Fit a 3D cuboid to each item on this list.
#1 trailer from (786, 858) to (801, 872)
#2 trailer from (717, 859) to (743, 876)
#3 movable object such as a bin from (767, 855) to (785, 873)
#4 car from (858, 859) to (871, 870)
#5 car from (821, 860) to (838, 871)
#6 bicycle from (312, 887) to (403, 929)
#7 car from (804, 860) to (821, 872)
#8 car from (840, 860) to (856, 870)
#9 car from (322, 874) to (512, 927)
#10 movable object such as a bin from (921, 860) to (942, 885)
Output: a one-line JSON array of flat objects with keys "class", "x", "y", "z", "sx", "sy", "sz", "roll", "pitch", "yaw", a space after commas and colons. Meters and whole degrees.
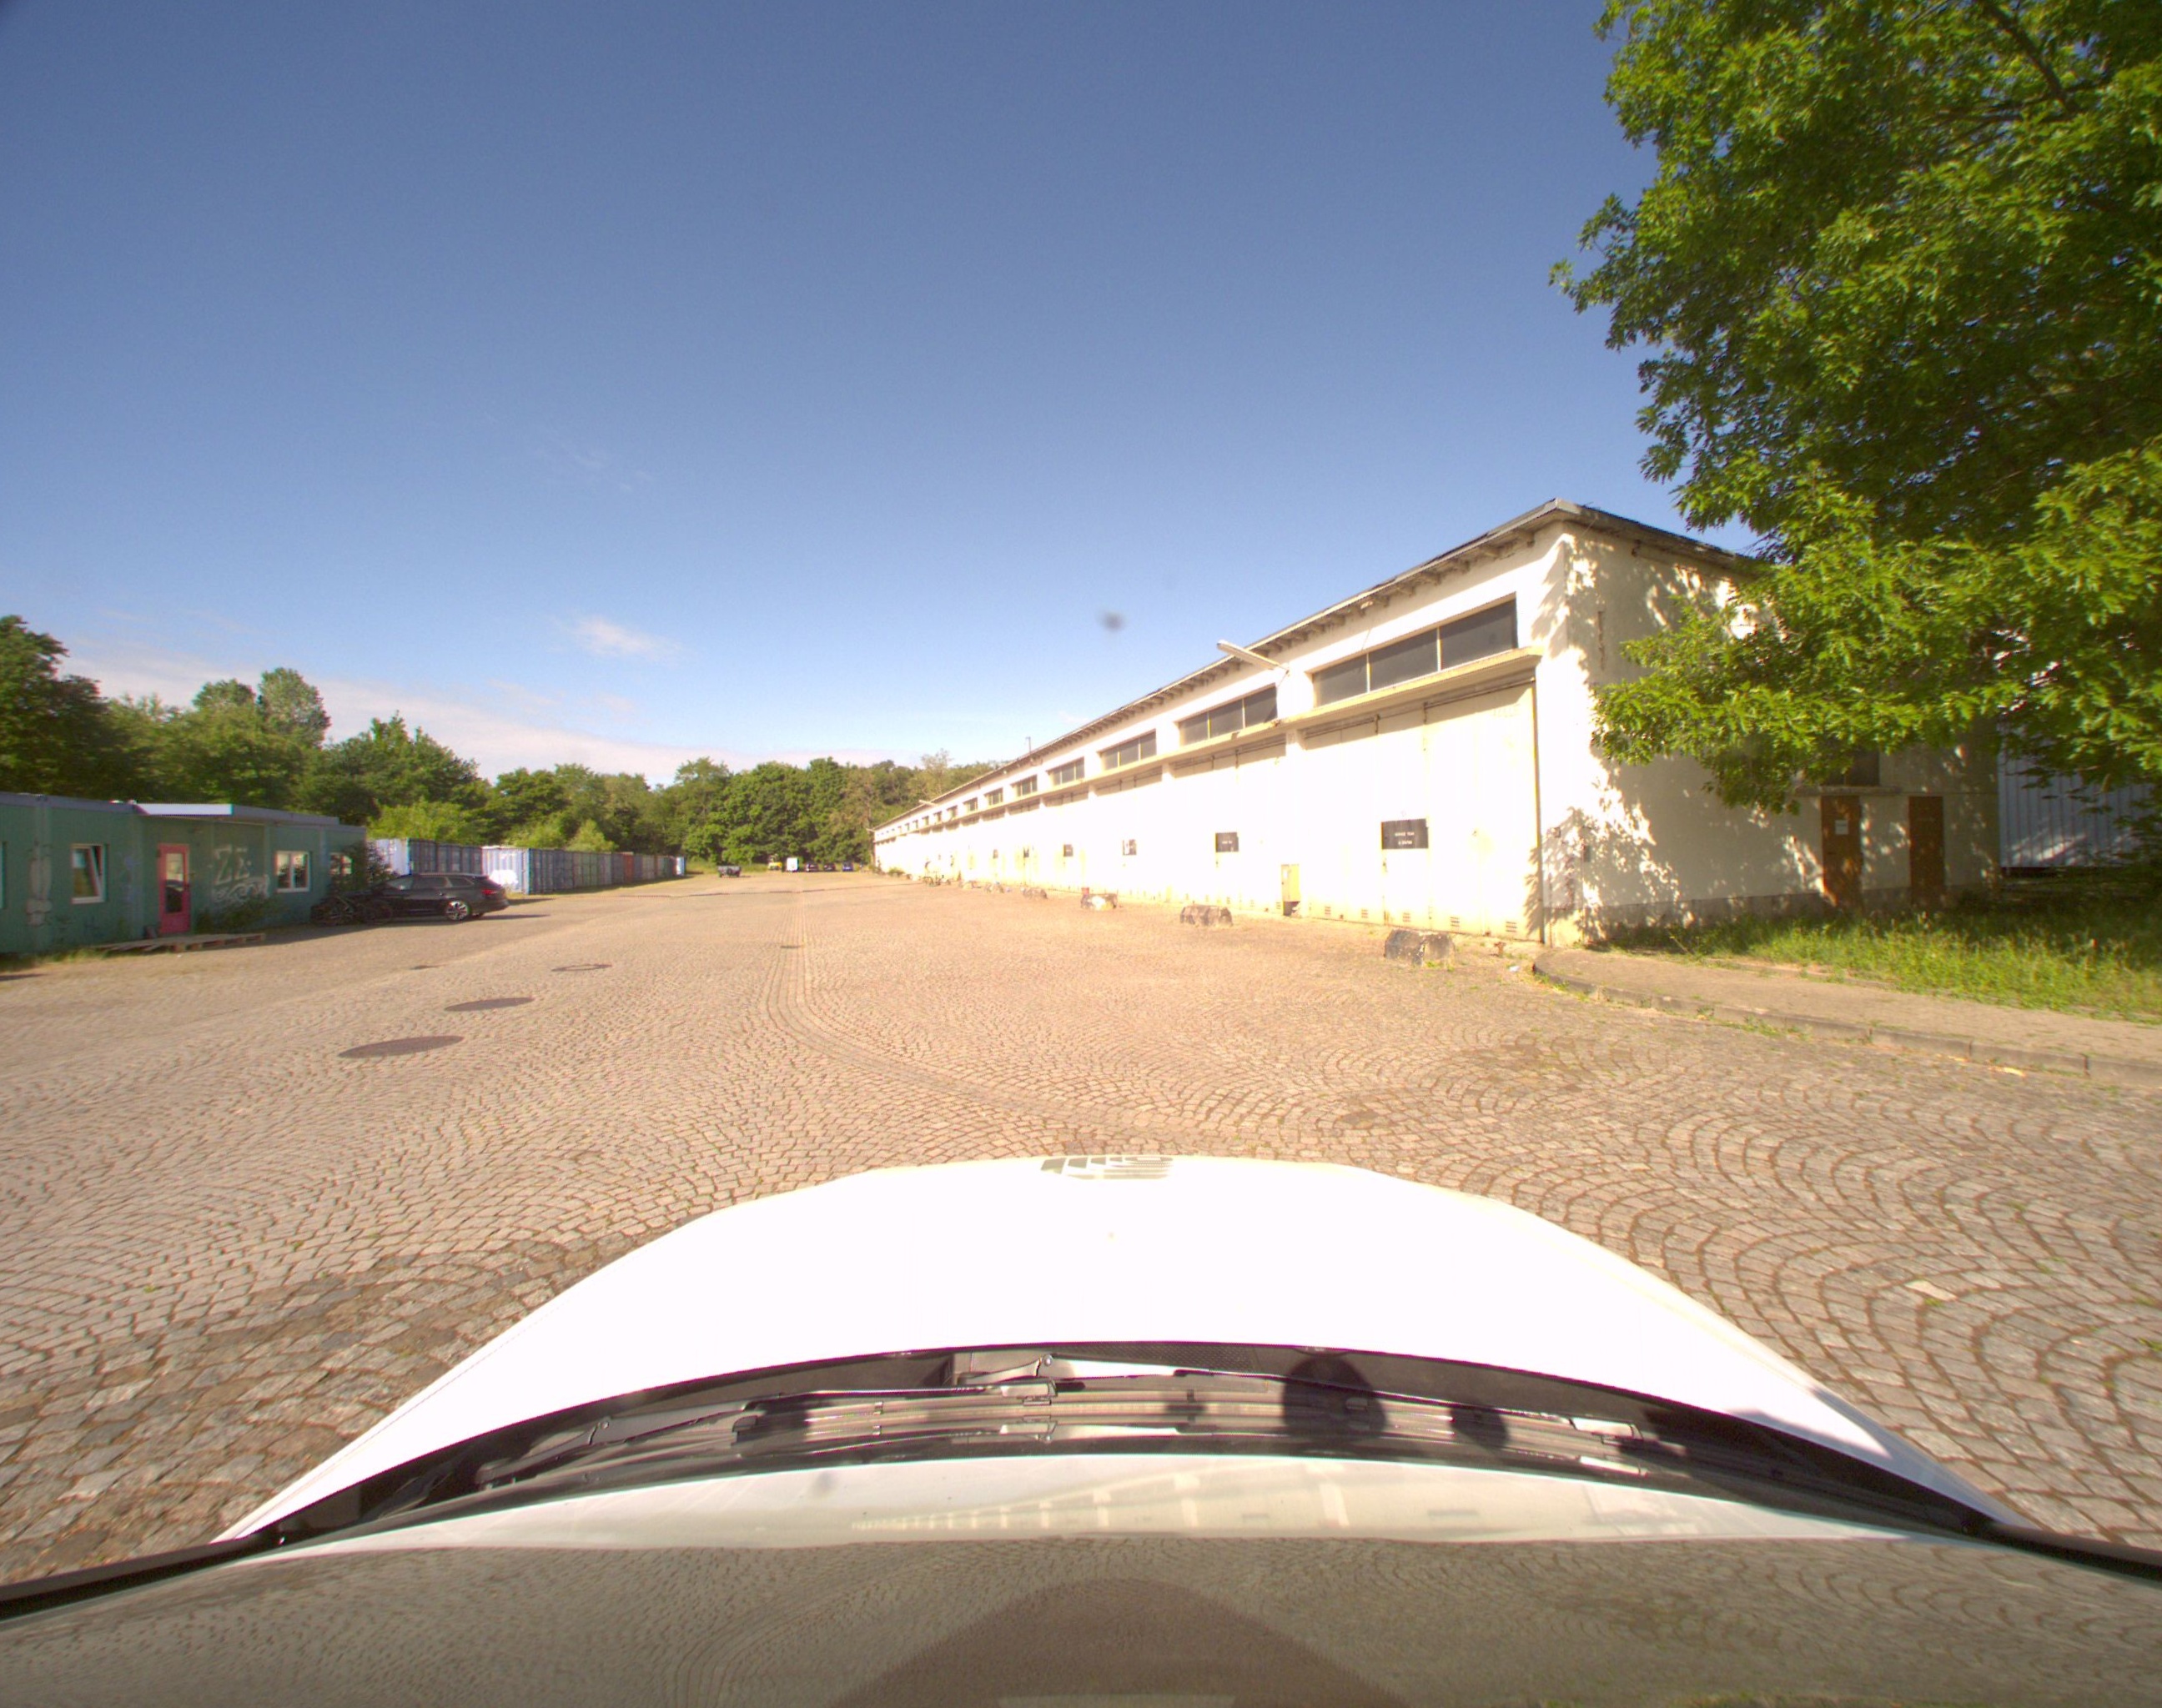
[{"class": "trailer", "x": -42.676, "y": 1.649, "z": 120.981, "sx": 1.797, "sy": 2.090, "sz": 3.951, "roll": -1, "pitch": 0, "yaw": -15}, {"class": "trailer", "x": -43.320, "y": 1.691, "z": 100.548, "sx": 2.413, "sy": 2.014, "sz": 4.149, "roll": 1, "pitch": -1, "yaw": -17}, {"class": "movable object such as a bin", "x": -45.119, "y": 1.445, "z": 120.397, "sx": 1.997, "sy": 2.618, "sz": 3.979, "roll": -2, "pitch": 0, "yaw": -15}, {"class": "car", "x": -33.050, "y": 1.560, "z": 124.278, "sx": 1.687, "sy": 1.563, "sz": 3.983, "roll": -1, "pitch": 0, "yaw": -12}, {"class": "car", "x": -37.425, "y": 1.726, "z": 121.275, "sx": 1.995, "sy": 1.462, "sz": 3.983, "roll": -1, "pitch": 0, "yaw": -12}, {"class": "bicycle", "x": -19.810, "y": 1.458, "z": 22.339, "sx": 1.713, "sy": 1.101, "sz": 0.669, "roll": 1, "pitch": -1, "yaw": -20}, {"class": "car", "x": -39.660, "y": 1.763, "z": 120.271, "sx": 1.863, "sy": 1.585, "sz": 3.983, "roll": -1, "pitch": 0, "yaw": -12}, {"class": "car", "x": -34.941, "y": 1.617, "z": 122.168, "sx": 1.995, "sy": 1.420, "sz": 3.983, "roll": -1, "pitch": 0, "yaw": -12}, {"class": "car", "x": -19.538, "y": 1.318, "z": 24.203, "sx": 4.069, "sy": 1.413, "sz": 1.717, "roll": 0, "pitch": -1, "yaw": -25}, {"class": "movable object such as a bin", "x": -8.001, "y": 0.990, "z": 43.598, "sx": 0.827, "sy": 1.331, "sz": 1.270, "roll": -1, "pitch": 0, "yaw": -24}]
